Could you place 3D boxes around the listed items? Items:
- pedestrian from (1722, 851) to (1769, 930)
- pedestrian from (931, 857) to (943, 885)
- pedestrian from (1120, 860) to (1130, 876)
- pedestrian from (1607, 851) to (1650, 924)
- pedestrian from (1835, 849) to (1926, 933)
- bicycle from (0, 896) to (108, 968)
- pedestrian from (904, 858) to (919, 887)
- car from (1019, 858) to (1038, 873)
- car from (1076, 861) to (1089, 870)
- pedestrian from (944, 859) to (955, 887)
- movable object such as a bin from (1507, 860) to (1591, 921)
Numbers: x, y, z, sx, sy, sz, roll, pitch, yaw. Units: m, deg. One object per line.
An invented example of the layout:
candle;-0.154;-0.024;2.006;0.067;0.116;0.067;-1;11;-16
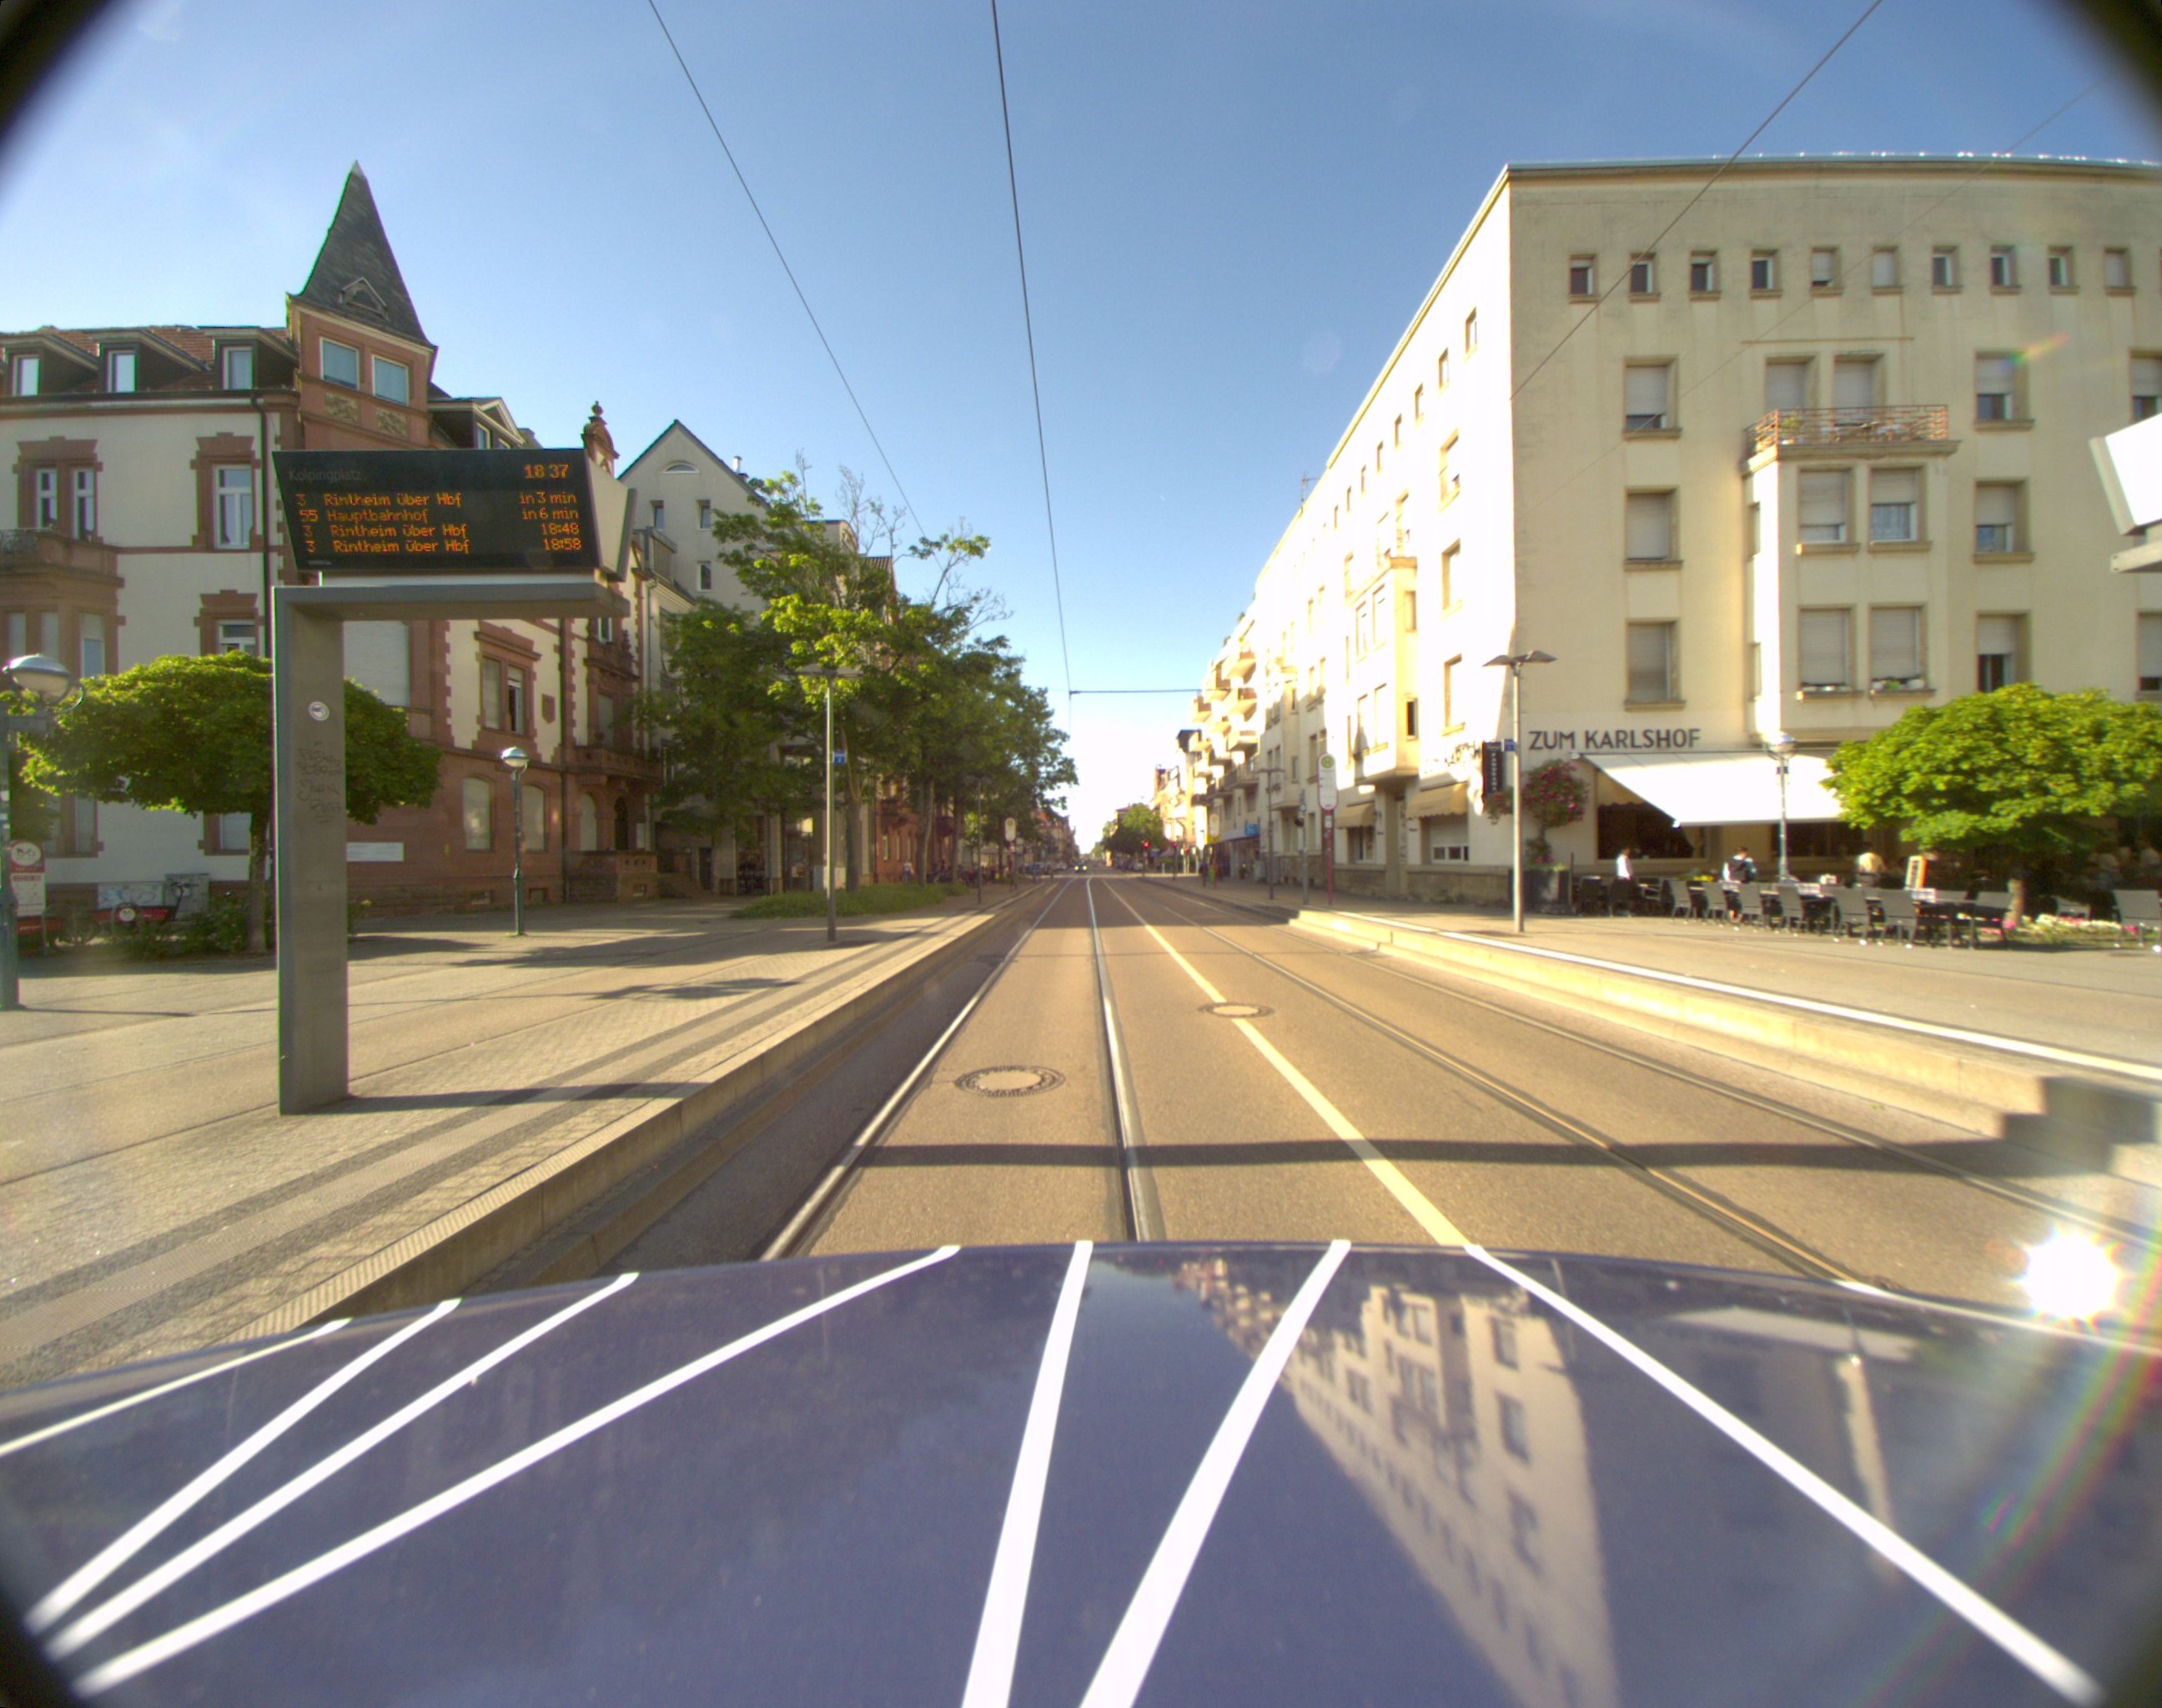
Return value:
pedestrian;14.100;0.769;16.145;0.672;1.634;0.678;-1;-3;37
pedestrian;-10.391;1.246;54.859;0.653;2.002;0.559;-1;0;3
pedestrian;5.746;1.833;99.636;1.334;1.990;1.138;0;0;1
pedestrian;12.599;0.777;17.491;0.672;1.634;0.752;-1;-3;28
pedestrian;16.022;0.721;15.248;1.066;1.635;0.756;-1;0;-4
bicycle;-18.228;1.349;12.617;0.790;1.062;2.804;-1;1;-8
pedestrian;-10.535;1.146;47.245;0.742;1.725;0.877;-1;0;-6
car;-7.109;1.516;103.871;1.998;2.002;4.001;-1;0;4
car;0.281;1.810;120.097;1.998;1.318;3.863;-1;0;1
pedestrian;-9.520;1.362;54.825;0.653;2.002;0.559;-1;0;3
movable object such as a bin;11.181;0.854;18.204;1.318;1.391;1.128;-1;0;-1
